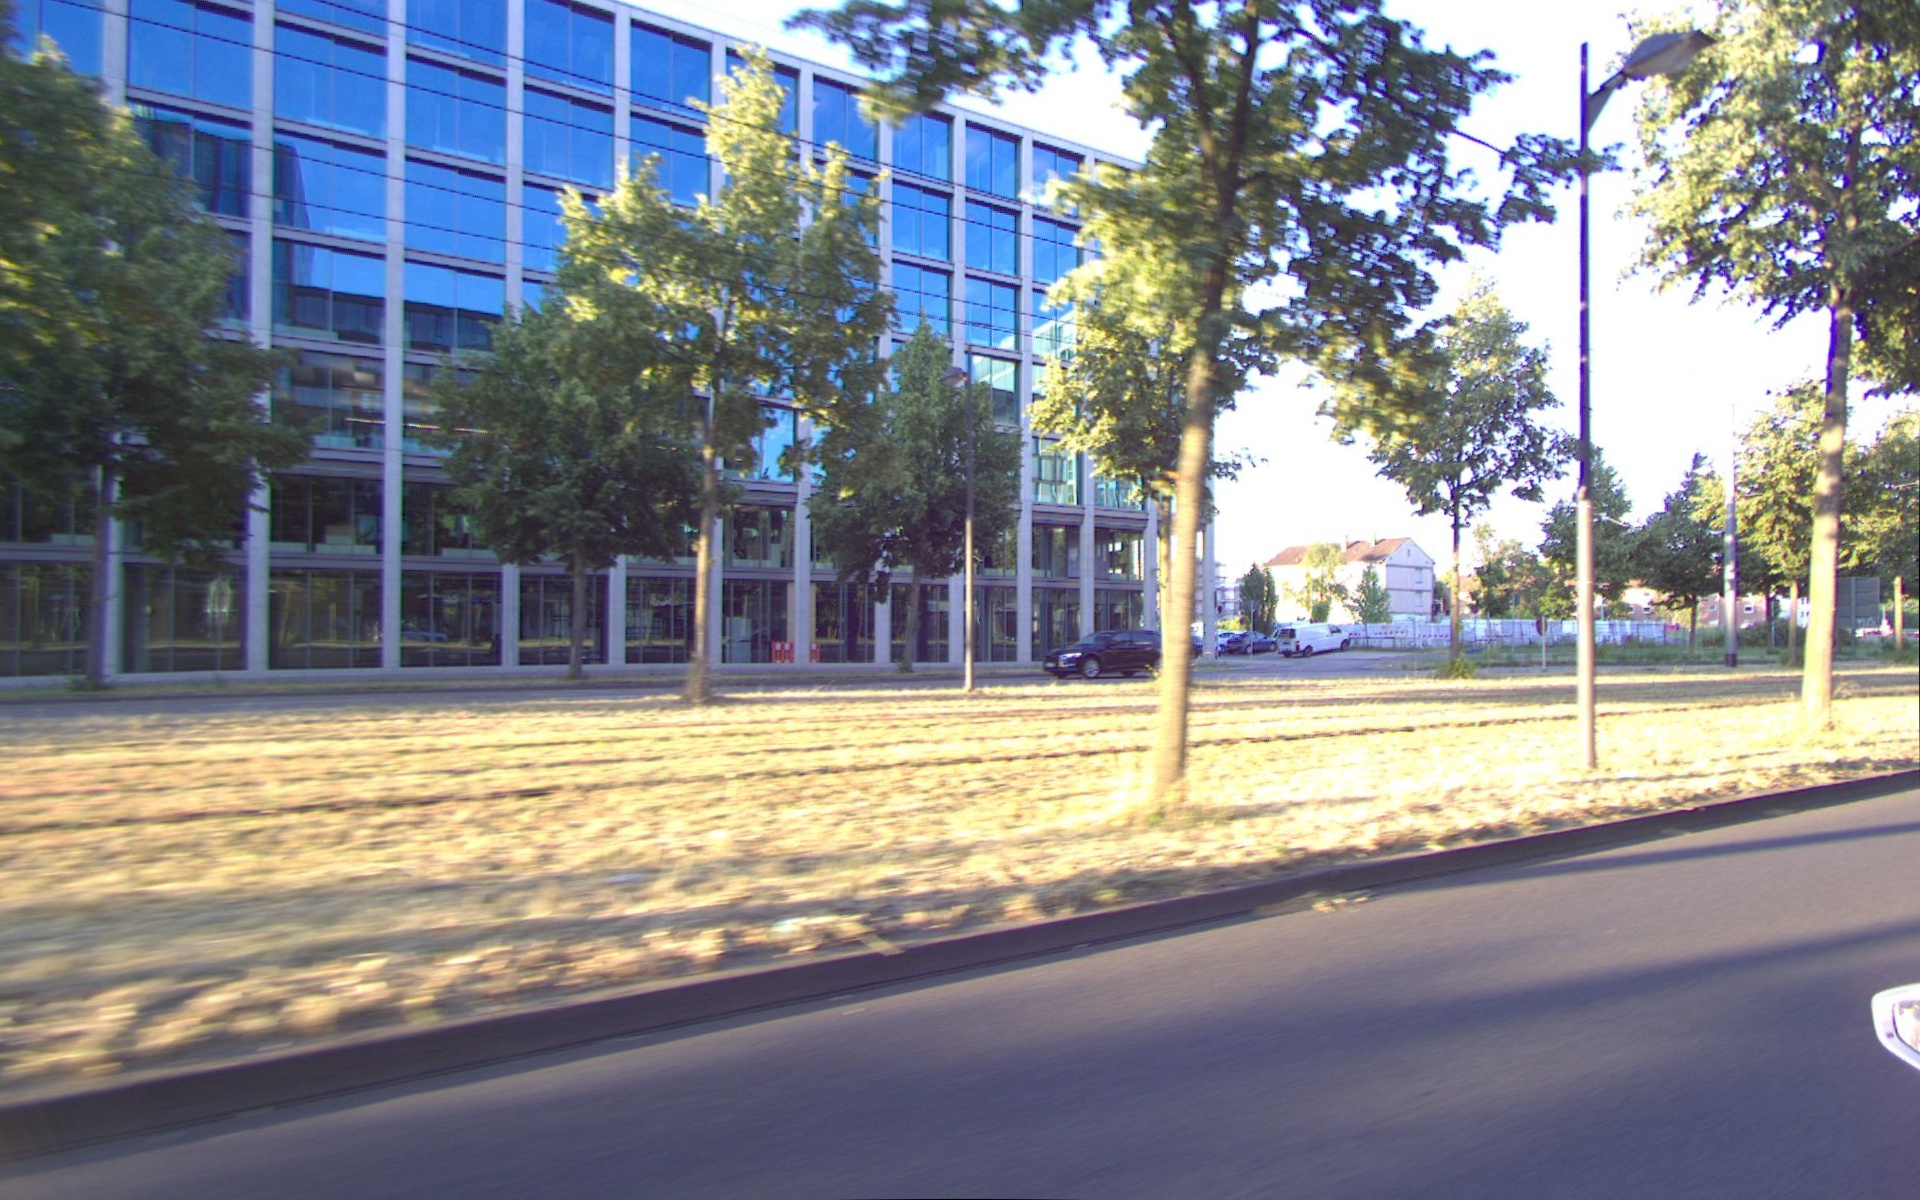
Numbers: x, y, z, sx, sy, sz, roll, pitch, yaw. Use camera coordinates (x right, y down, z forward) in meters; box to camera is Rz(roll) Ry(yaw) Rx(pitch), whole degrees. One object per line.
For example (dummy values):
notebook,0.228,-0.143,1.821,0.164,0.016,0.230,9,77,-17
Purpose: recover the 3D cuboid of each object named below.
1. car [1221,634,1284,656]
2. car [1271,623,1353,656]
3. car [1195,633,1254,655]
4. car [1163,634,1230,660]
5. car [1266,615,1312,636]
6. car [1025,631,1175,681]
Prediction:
car,20.216,3.106,69.424,3.953,1.437,1.984,1,-2,-30
car,22.574,2.518,64.388,5.023,2.040,2.196,1,-2,-30
car,19.054,3.127,72.351,3.953,1.530,1.984,1,-2,-30
car,14.190,2.780,60.417,1.870,1.465,3.973,1,-2,-26
car,31.223,2.424,95.251,4.263,2.008,1.788,1,-2,-31
car,4.334,1.690,30.958,4.335,1.441,1.923,1,-2,-29
